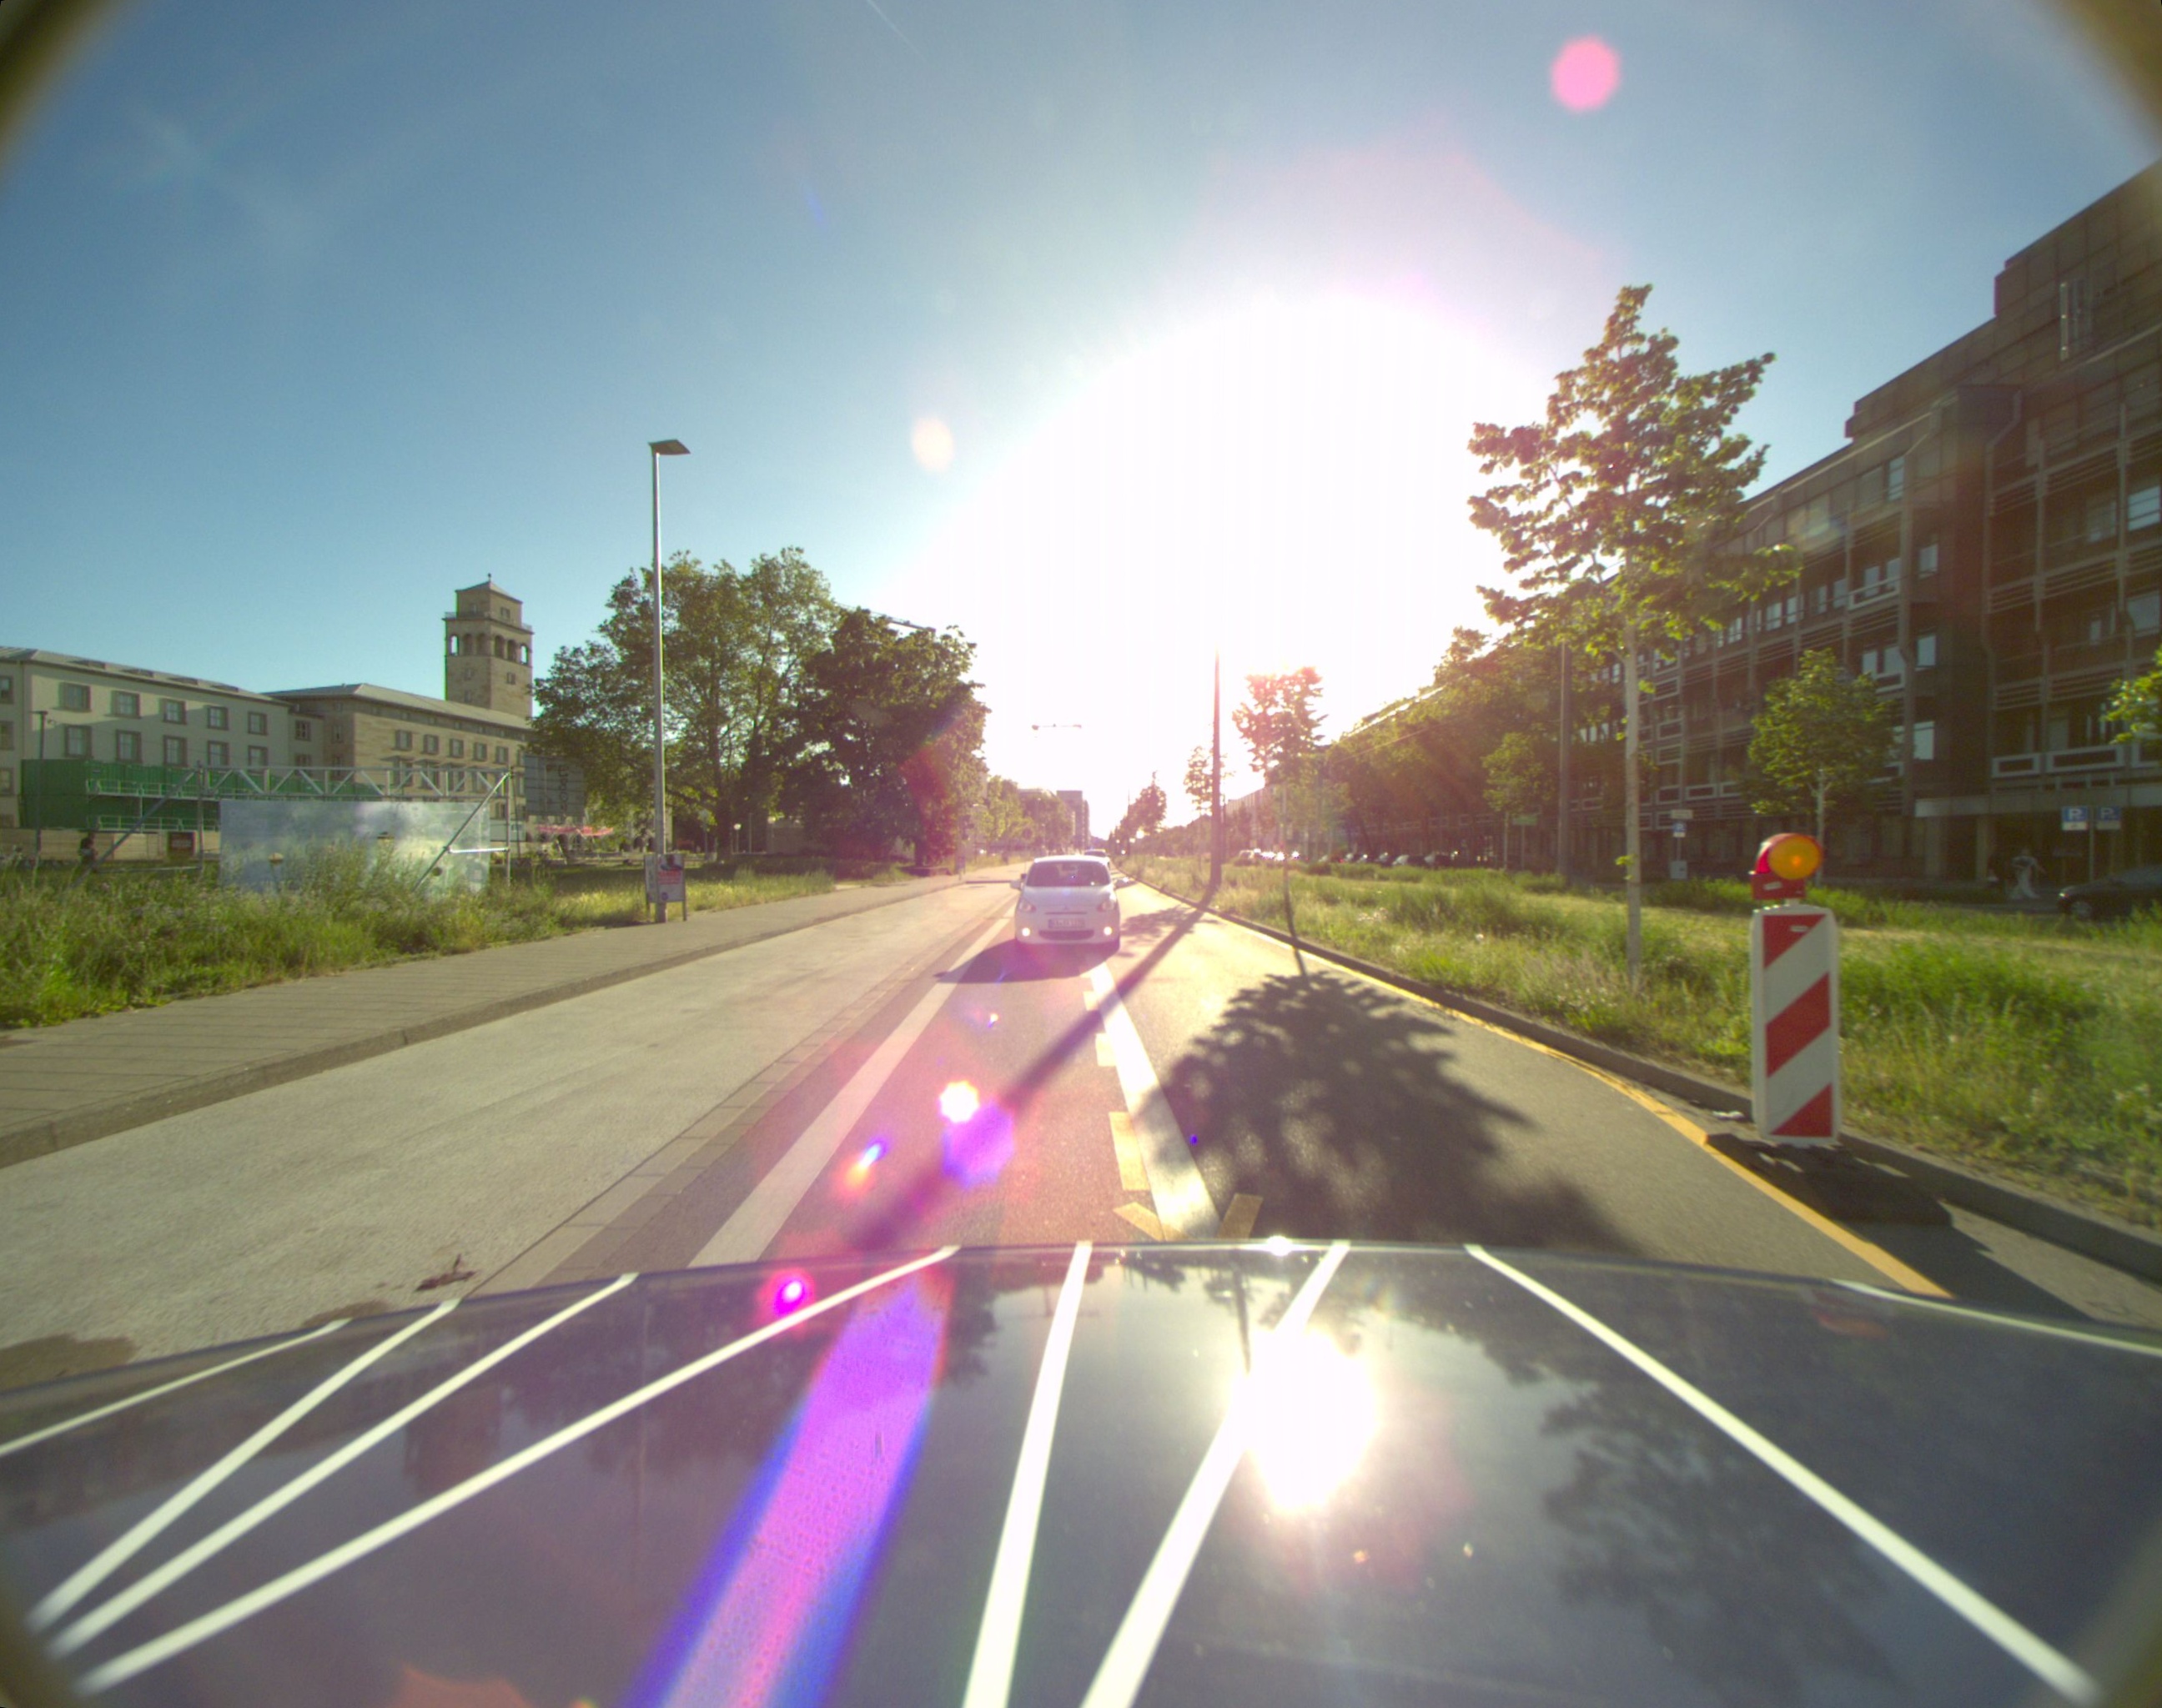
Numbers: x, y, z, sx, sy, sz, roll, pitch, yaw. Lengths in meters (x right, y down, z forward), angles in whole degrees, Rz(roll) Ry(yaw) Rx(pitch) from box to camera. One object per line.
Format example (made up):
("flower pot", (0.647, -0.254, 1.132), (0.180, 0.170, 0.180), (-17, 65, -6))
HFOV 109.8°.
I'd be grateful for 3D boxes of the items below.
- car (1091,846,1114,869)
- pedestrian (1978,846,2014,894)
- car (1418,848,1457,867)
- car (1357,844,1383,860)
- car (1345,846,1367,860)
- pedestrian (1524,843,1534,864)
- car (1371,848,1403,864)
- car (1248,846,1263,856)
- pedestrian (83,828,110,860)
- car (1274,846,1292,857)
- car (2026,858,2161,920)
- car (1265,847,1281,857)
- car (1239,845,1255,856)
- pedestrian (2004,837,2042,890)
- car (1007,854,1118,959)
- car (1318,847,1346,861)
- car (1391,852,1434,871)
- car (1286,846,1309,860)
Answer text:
("car", (1.432, 0.249, 51.260), (1.458, 1.472, 3.527), (-1, 0, 1))
("pedestrian", (30.231, 0.508, 25.109), (0.521, 1.569, 0.536), (1, 1, 4))
("car", (31.146, 0.302, 66.522), (1.726, 1.535, 3.631), (-2, 1, 0))
("car", (31.797, -0.228, 83.563), (1.510, 1.593, 3.526), (-2, 1, 0))
("car", (32.072, -0.142, 88.643), (1.390, 1.593, 3.266), (-2, 1, 0))
("pedestrian", (36.553, -0.023, 61.983), (0.483, 1.739, 0.639), (1, 1, 2))
("car", (31.396, 0.204, 78.068), (1.726, 1.593, 3.631), (-2, 1, 0))
("car", (25.076, -0.449, 109.262), (1.554, 1.371, 3.780), (1, 1, 2))
("pedestrian", (-40.349, -0.410, 31.142), (0.572, 1.288, 0.441), (-1, 3, 22))
("car", (28.061, -0.354, 105.698), (1.631, 1.487, 3.780), (1, 1, 2))
("car", (26.324, 0.838, 18.462), (1.720, 1.379, 4.039), (-2, 1, 1))
("car", (29.068, -0.337, 115.194), (1.554, 1.371, 3.780), (1, 1, 2))
("car", (26.047, -0.602, 119.192), (1.865, 1.671, 3.780), (1, 1, 2))
("pedestrian", (30.870, 0.318, 24.909), (0.521, 1.712, 0.536), (1, 1, 4))
("car", (-0.303, 0.799, 13.173), (1.615, 1.489, 3.394), (-2, 1, -1))
("car", (27.054, -0.039, 82.062), (1.631, 1.487, 4.417), (1, 1, 2))
("car", (25.370, 0.552, 58.312), (1.720, 1.379, 4.040), (-1, 1, 2))
("car", (23.828, -0.158, 83.722), (1.631, 1.487, 3.780), (1, 1, 2))
